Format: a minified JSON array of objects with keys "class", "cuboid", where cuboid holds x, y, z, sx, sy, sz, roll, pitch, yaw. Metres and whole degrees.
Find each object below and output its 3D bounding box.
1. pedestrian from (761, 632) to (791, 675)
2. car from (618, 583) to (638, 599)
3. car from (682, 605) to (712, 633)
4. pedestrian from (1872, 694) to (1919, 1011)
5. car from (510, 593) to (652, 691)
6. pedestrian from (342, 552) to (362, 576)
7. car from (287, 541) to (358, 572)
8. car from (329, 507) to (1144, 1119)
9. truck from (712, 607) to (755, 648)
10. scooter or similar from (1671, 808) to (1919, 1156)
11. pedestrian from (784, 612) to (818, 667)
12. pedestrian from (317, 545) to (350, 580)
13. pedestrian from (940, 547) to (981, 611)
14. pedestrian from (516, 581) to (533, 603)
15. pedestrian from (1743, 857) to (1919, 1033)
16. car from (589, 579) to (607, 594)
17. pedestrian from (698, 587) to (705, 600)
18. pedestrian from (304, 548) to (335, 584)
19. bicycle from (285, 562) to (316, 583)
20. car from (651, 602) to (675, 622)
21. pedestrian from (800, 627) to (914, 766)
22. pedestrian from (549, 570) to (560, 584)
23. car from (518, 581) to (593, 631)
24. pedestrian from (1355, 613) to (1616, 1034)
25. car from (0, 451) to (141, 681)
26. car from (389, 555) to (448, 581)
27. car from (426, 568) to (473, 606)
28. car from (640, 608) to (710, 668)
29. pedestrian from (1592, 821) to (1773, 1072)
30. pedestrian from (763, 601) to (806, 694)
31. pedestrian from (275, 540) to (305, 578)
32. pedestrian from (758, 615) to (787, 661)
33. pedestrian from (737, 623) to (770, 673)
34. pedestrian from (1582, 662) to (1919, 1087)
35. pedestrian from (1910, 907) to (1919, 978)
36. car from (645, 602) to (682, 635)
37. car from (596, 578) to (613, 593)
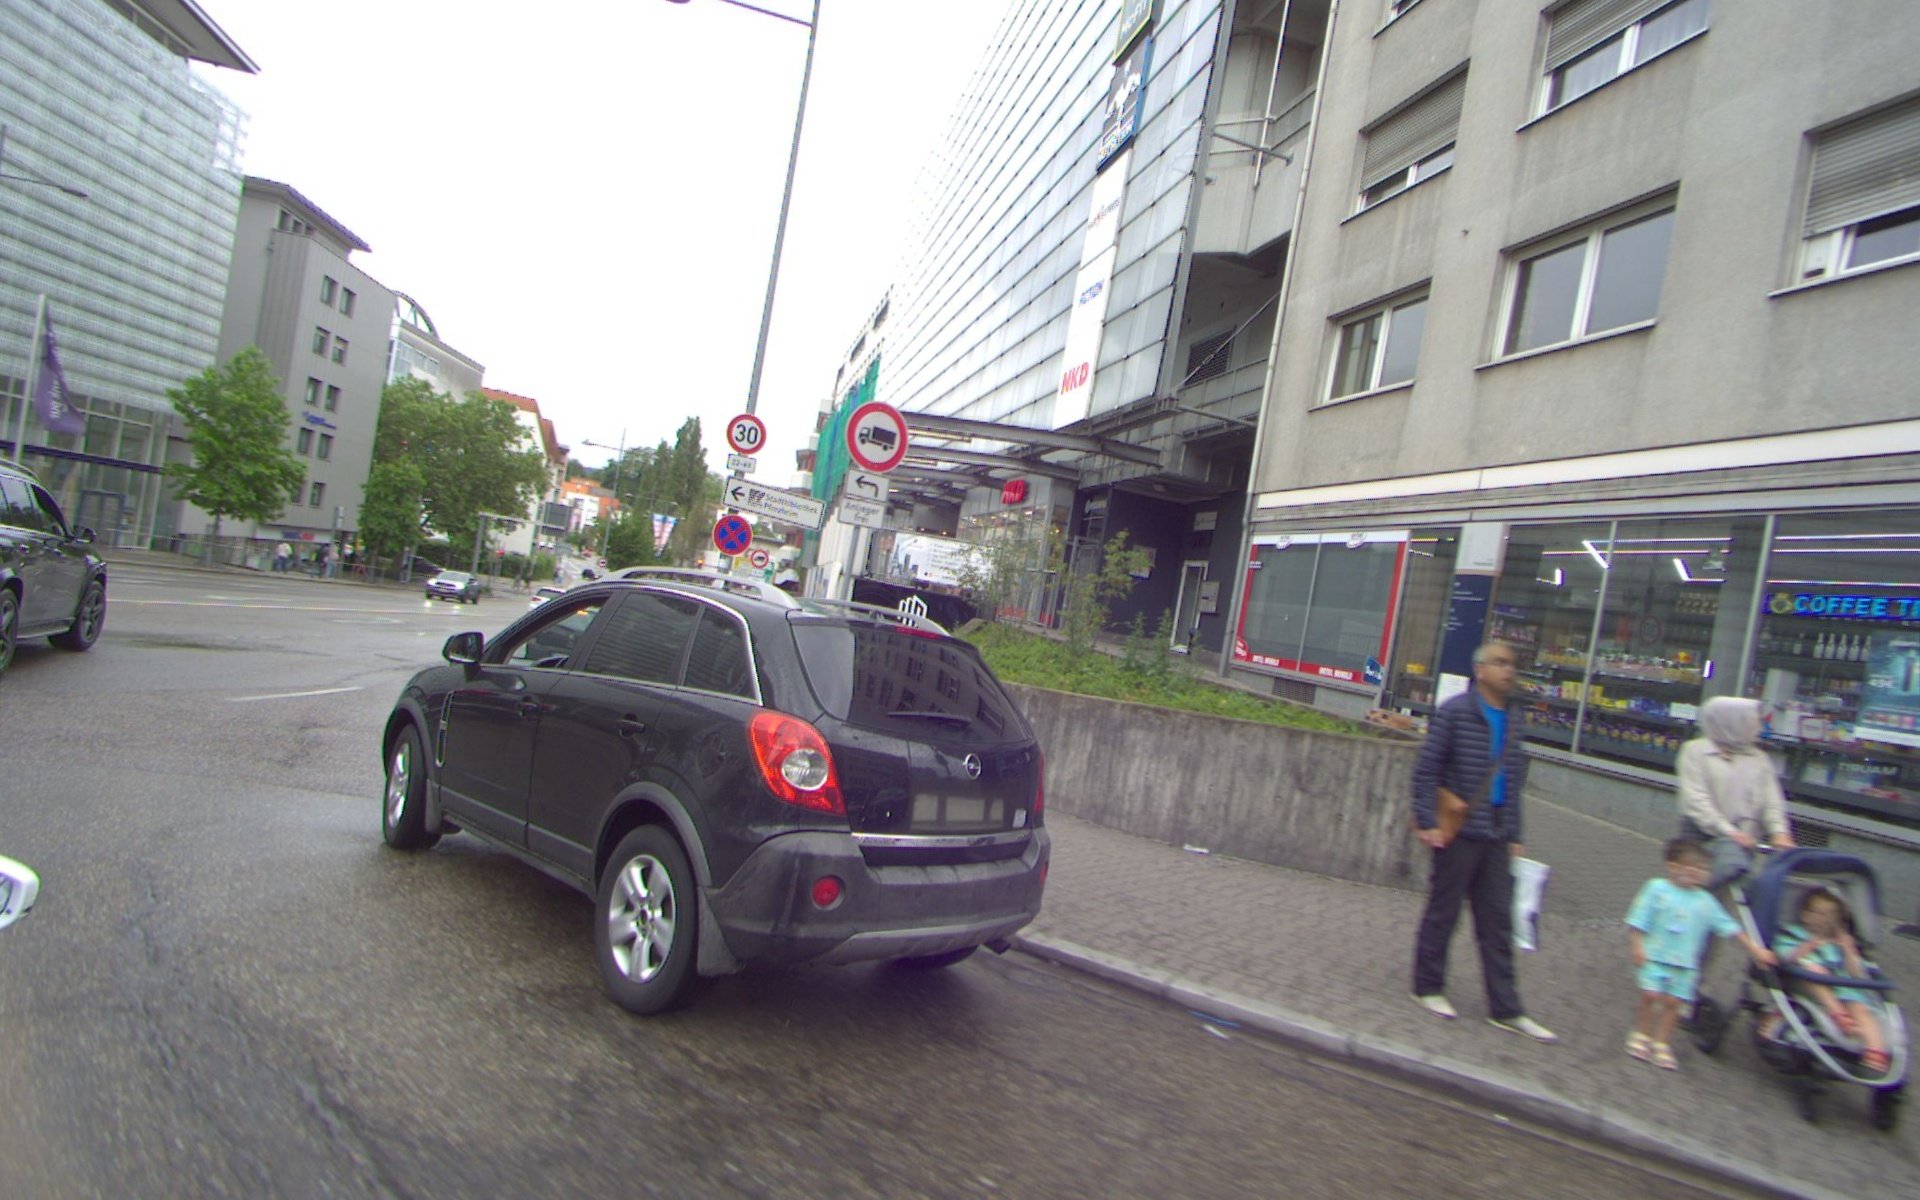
[{"class":"pedestrian","cuboid":[-5.752,1.672,31.509,0.680,1.221,0.554,8,-1,-3]},{"class":"car","cuboid":[-40.050,-1.076,121.422,1.800,1.566,3.988,10,-2,-16]},{"class":"car","cuboid":[-18.360,1.317,70.194,1.740,1.559,3.989,10,-2,-14]},{"class":"pedestrian","cuboid":[5.640,1.332,5.282,0.647,1.891,0.836,5,4,-10]},{"class":"car","cuboid":[-7.213,0.789,19.536,1.695,1.435,3.767,11,-3,-10]},{"class":"pedestrian","cuboid":[-50.126,-2.955,82.927,0.746,1.742,0.952,8,-1,1]},{"class":"car","cuboid":[-58.447,-3.992,92.401,5.031,1.777,1.989,13,-3,-24]},{"class":"car","cuboid":[-1.464,0.686,5.373,4.240,1.806,1.907,8,-2,41]},{"class":"truck","cuboid":[-14.218,1.690,63.001,2.159,2.105,5.589,10,-2,-14]},{"class":"scooter or similar","cuboid":[3.860,1.625,4.429,0.643,1.123,0.972,8,2,5]},{"class":"pedestrian","cuboid":[-5.430,1.357,34.412,0.823,1.742,0.617,8,-1,-3]},{"class":"pedestrian","cuboid":[-35.108,-2.093,56.422,0.959,1.742,1.090,8,-1,-4]},{"class":"pedestrian","cuboid":[0.011,-0.587,28.721,0.814,1.707,0.597,9,-1,-12]},{"class":"pedestrian","cuboid":[-40.545,-0.767,93.693,1.048,1.903,0.838,8,-1,-5]},{"class":"pedestrian","cuboid":[3.849,1.496,4.411,0.450,0.578,0.372,8,2,5]},{"class":"car","cuboid":[-43.074,-1.645,119.780,1.689,1.466,3.847,10,-3,-19]},{"class":"pedestrian","cuboid":[-39.639,-1.011,154.149,0.696,1.823,0.933,9,-2,-26]},{"class":"pedestrian","cuboid":[-33.044,-1.749,51.934,0.807,1.732,1.308,9,-1,-18]},{"class":"bicycle","cuboid":[-42.561,-1.761,64.963,0.604,1.098,2.667,10,-3,-11]},{"class":"car","cuboid":[-27.485,1.073,93.150,1.774,1.484,3.990,11,-2,-14]},{"class":"pedestrian","cuboid":[-1.299,1.175,12.498,1.044,1.550,1.023,6,0,-21]},{"class":"pedestrian","cuboid":[-49.055,-2.776,121.651,0.555,1.626,0.924,7,-2,37]},{"class":"car","cuboid":[-16.448,0.255,41.141,1.926,1.591,3.994,10,-2,-11]},{"class":"pedestrian","cuboid":[2.554,1.053,4.983,0.772,1.893,0.617,5,4,2]},{"class":"car","cuboid":[-9.236,-0.481,8.874,2.075,1.836,4.757,12,-3,-29]},{"class":"car","cuboid":[-51.263,-3.029,95.308,4.555,1.497,1.932,13,-3,-24]},{"class":"car","cuboid":[-25.322,-0.663,49.910,1.826,1.570,4.068,8,-2,-27]},{"class":"car","cuboid":[-9.623,1.238,34.220,1.927,1.591,3.991,11,-3,-14]},{"class":"pedestrian","cuboid":[3.328,1.590,4.658,0.463,1.014,0.261,8,5,9]},{"class":"pedestrian","cuboid":[-3.745,0.998,21.427,0.592,1.862,1.009,8,0,-14]},{"class":"pedestrian","cuboid":[-34.124,-2.099,51.274,0.985,1.742,1.031,9,-1,-29]},{"class":"pedestrian","cuboid":[-7.694,1.560,41.278,0.823,1.742,0.829,8,-1,-3]},{"class":"pedestrian","cuboid":[-6.438,1.489,31.379,0.735,1.454,0.597,7,-1,-3]},{"class":"pedestrian","cuboid":[3.970,1.270,5.044,0.823,1.744,1.038,8,2,3]},{"class":"pedestrian","cuboid":[6.314,1.370,5.744,0.719,1.956,0.819,7,2,-6]},{"class":"car","cuboid":[-17.117,1.019,58.217,1.792,1.456,3.988,12,-2,-15]},{"class":"car","cuboid":[-44.917,-1.860,127.191,1.760,1.566,3.983,11,-3,-20]}]
